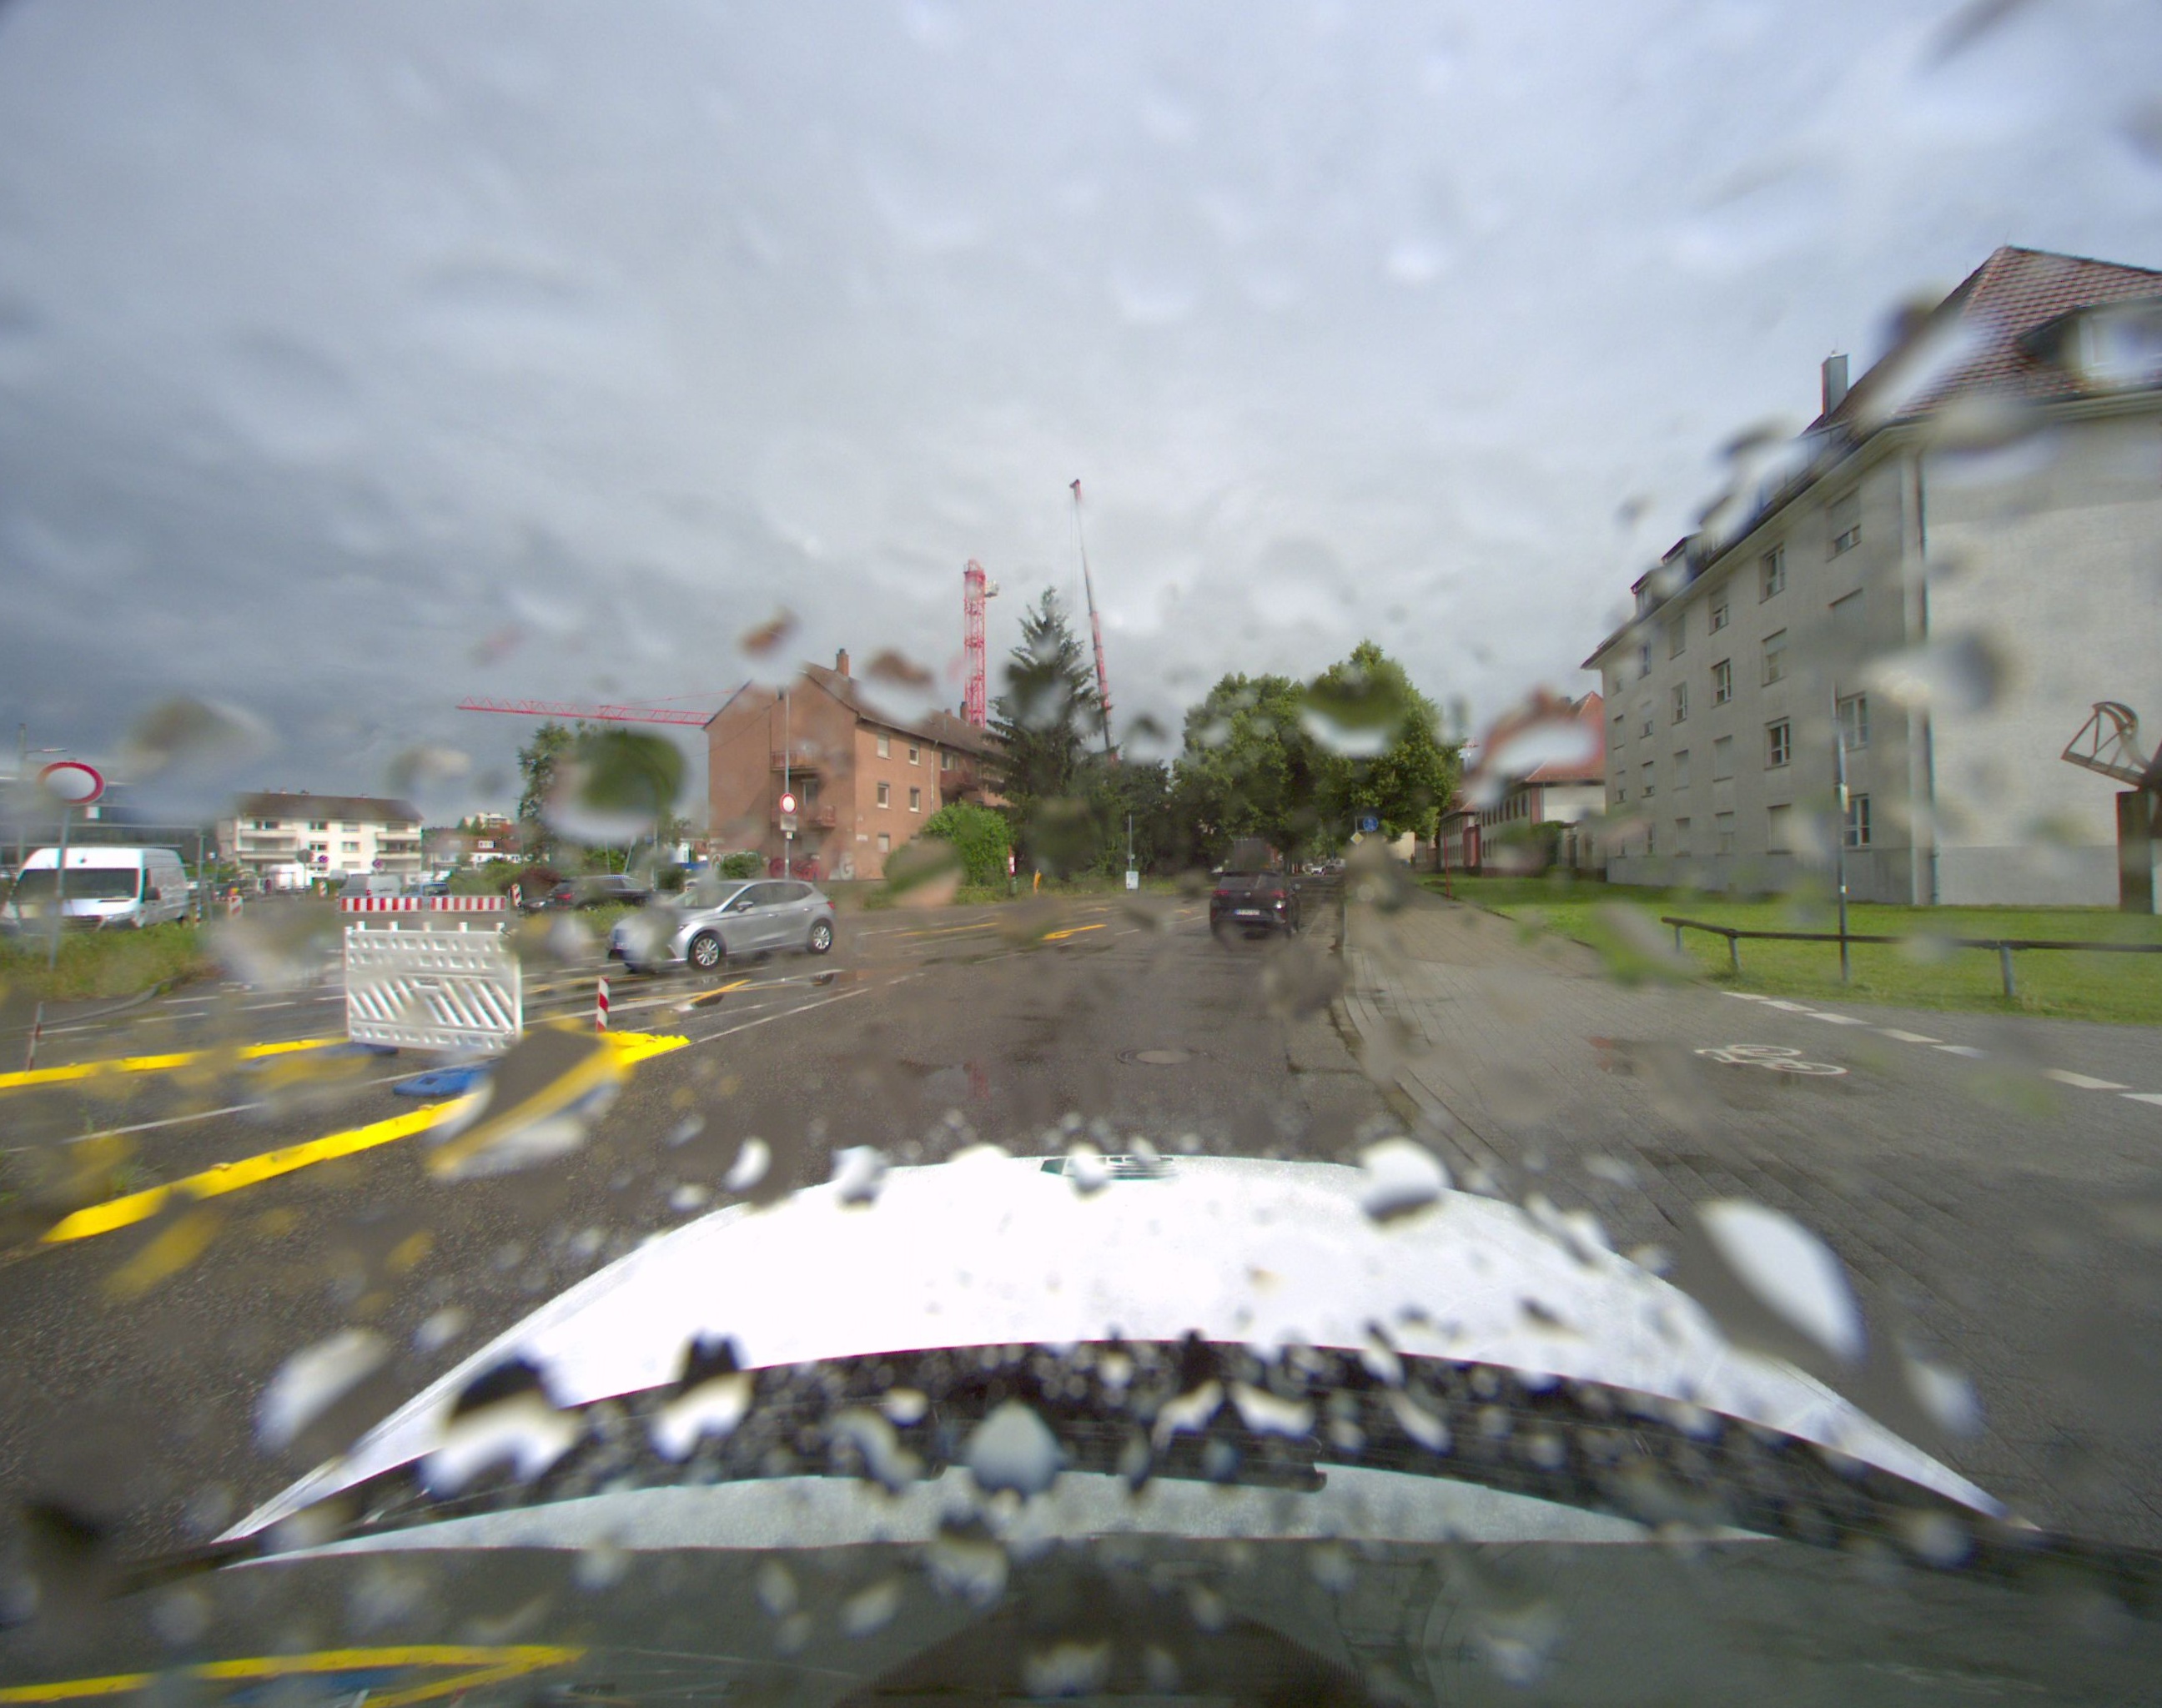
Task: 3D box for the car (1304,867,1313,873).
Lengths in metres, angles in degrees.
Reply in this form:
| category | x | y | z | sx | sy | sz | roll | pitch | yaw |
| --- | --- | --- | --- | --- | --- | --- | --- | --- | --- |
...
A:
| category | x | y | z | sx | sy | sz | roll | pitch | yaw |
| --- | --- | --- | --- | --- | --- | --- | --- | --- | --- |
| car | 58.687 | 4.135 | 210.337 | 1.576 | 1.512 | 3.752 | -5 | -2 | 24 |

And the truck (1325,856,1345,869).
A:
| category | x | y | z | sx | sy | sz | roll | pitch | yaw |
| --- | --- | --- | --- | --- | --- | --- | --- | --- | --- |
| truck | 56.267 | 1.898 | 180.758 | 2.790 | 2.657 | 8.256 | 0 | -1 | 7 |

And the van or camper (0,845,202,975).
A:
| category | x | y | z | sx | sy | sz | roll | pitch | yaw |
| --- | --- | --- | --- | --- | --- | --- | --- | --- | --- |
| van or camper | -23.665 | 1.210 | 19.670 | 2.524 | 2.647 | 6.899 | 1 | -2 | -41 |

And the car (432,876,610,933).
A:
| category | x | y | z | sx | sy | sz | roll | pitch | yaw |
| --- | --- | --- | --- | --- | --- | --- | --- | --- | --- |
| car | -17.766 | 1.529 | 26.081 | 1.737 | 1.618 | 4.353 | -1 | -1 | 29 |

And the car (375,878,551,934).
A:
| category | x | y | z | sx | sy | sz | roll | pitch | yaw |
| --- | --- | --- | --- | --- | --- | --- | --- | --- | --- |
| car | -20.210 | 1.625 | 26.846 | 1.737 | 1.618 | 4.284 | -1 | -1 | 29 |

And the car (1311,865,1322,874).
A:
| category | x | y | z | sx | sy | sz | roll | pitch | yaw |
| --- | --- | --- | --- | --- | --- | --- | --- | --- | --- |
| car | 45.063 | 2.948 | 155.742 | 1.871 | 1.714 | 4.249 | -2 | -1 | 18 |

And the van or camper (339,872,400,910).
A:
| category | x | y | z | sx | sy | sz | roll | pitch | yaw |
| --- | --- | --- | --- | --- | --- | --- | --- | --- | --- |
| van or camper | -45.395 | 2.300 | 51.908 | 5.842 | 2.274 | 2.012 | -1 | -2 | 40 |

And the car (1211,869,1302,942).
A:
| category | x | y | z | sx | sy | sz | roll | pitch | yaw |
| --- | --- | --- | --- | --- | --- | --- | --- | --- | --- |
| car | 4.150 | 1.116 | 19.149 | 1.881 | 1.522 | 4.014 | 0 | -1 | 13 |

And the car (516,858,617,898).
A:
| category | x | y | z | sx | sy | sz | roll | pitch | yaw |
| --- | --- | --- | --- | --- | --- | --- | --- | --- | --- |
| car | -27.774 | 1.255 | 44.036 | 1.695 | 2.018 | 4.348 | -1 | -1 | 45 |

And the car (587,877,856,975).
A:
| category | x | y | z | sx | sy | sz | roll | pitch | yaw |
| --- | --- | --- | --- | --- | --- | --- | --- | --- | --- |
| car | -6.062 | 1.128 | 14.319 | 1.722 | 1.415 | 4.203 | -1 | -1 | 25 |
